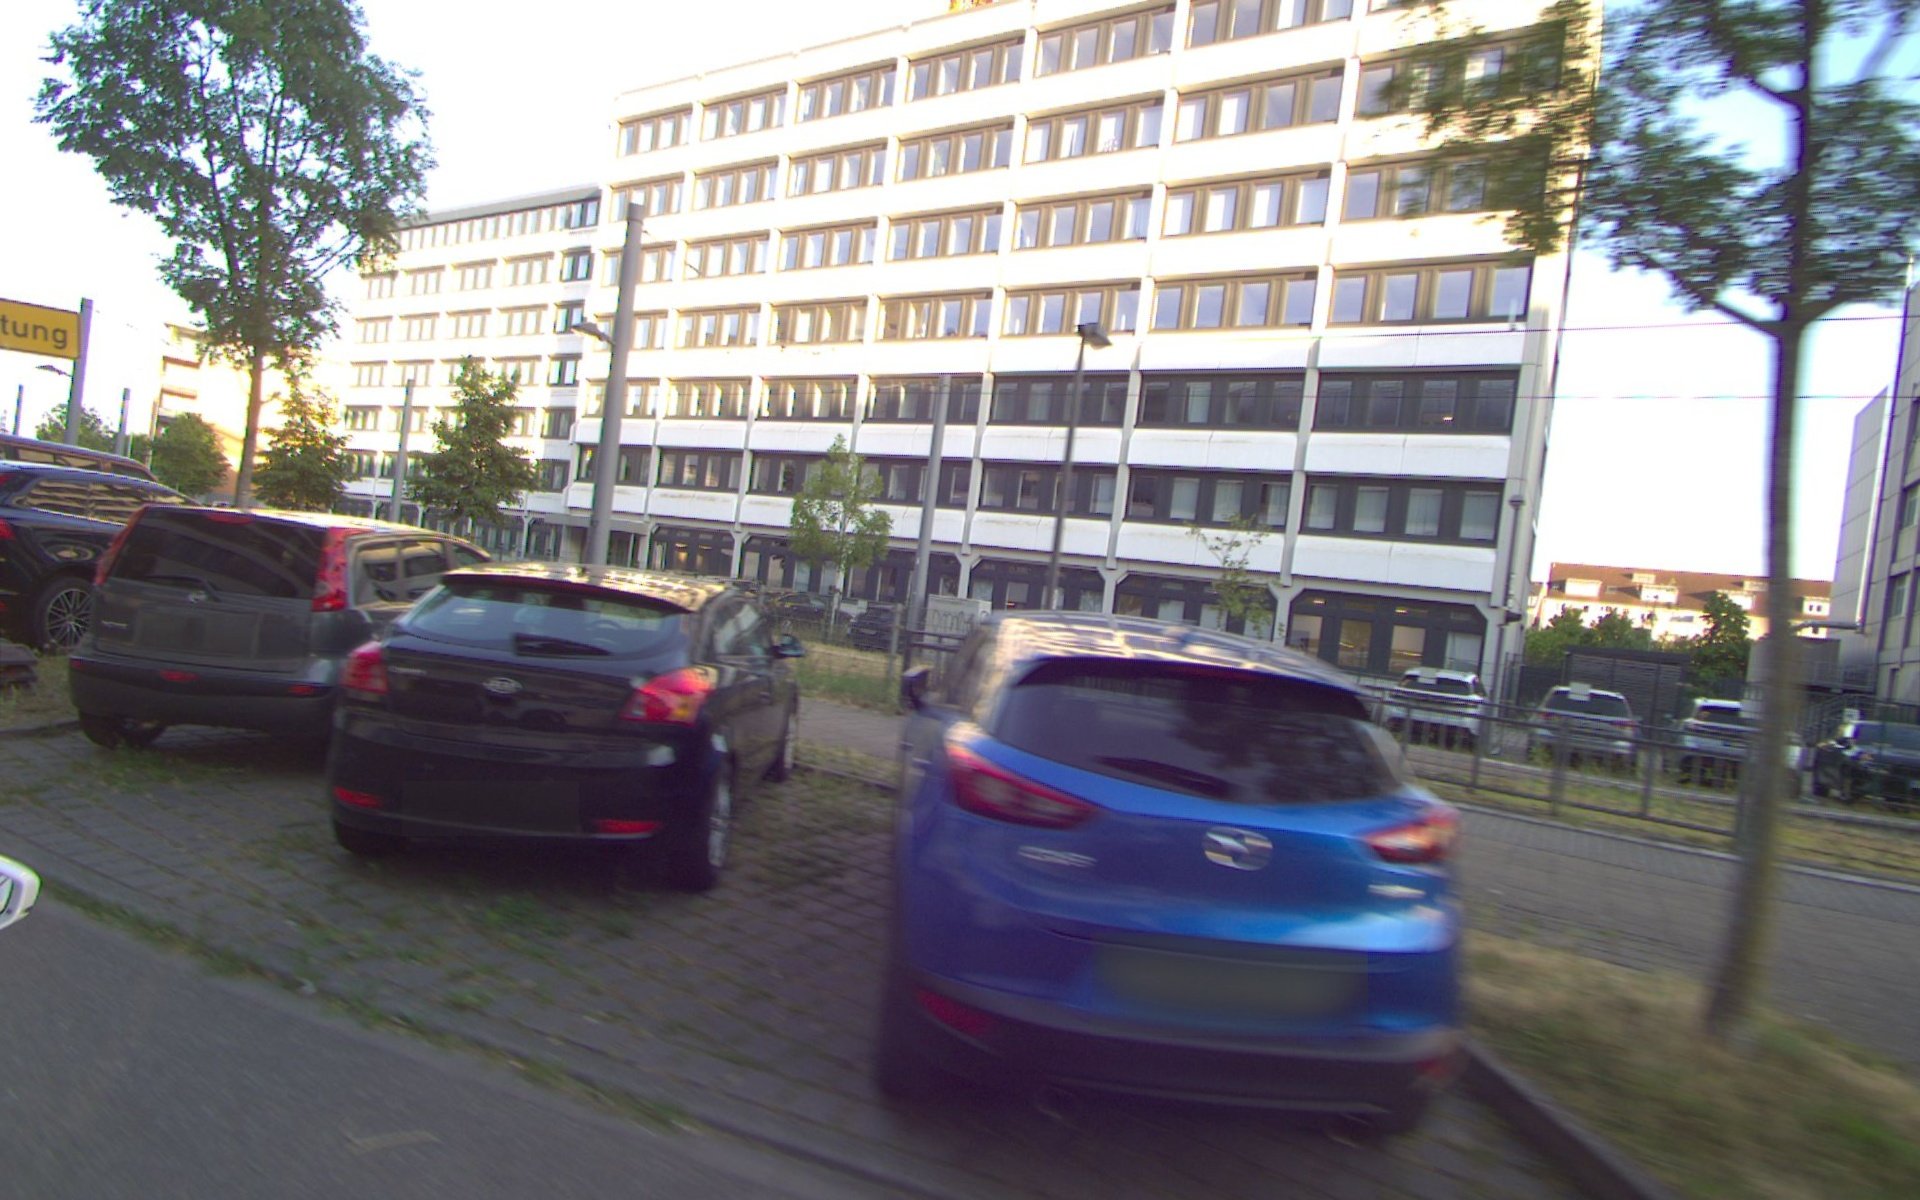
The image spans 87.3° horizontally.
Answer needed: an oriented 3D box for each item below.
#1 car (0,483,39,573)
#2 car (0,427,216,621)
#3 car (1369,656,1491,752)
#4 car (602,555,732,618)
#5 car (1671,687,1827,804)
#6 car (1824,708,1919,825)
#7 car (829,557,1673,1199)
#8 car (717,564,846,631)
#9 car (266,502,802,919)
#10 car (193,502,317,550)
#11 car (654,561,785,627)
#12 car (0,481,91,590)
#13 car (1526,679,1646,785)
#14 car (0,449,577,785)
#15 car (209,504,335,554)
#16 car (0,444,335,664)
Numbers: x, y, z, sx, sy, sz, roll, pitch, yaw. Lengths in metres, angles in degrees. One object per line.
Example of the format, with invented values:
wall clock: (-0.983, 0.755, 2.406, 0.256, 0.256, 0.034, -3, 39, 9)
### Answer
car: (-16.709, -1.369, 15.381, 1.732, 1.459, 3.778, 9, -1, -3)
car: (-11.238, -0.936, 11.524, 1.838, 2.058, 4.604, 9, -1, -2)
car: (9.916, 2.079, 21.068, 1.793, 1.533, 3.990, 8, 2, 30)
car: (-9.614, -0.392, 33.291, 1.565, 1.413, 3.998, 8, -3, 30)
car: (14.017, 2.494, 18.091, 1.648, 1.506, 3.988, 8, 2, 32)
car: (15.991, 2.790, 16.801, 1.648, 1.506, 3.988, 8, 2, 32)
car: (0.603, 0.758, 4.397, 1.893, 1.539, 3.997, 6, 0, -3)
car: (-5.377, -0.033, 30.785, 1.565, 1.413, 3.998, 8, -3, 30)
car: (-2.003, 0.460, 6.033, 1.706, 1.483, 3.996, 7, 0, -6)
car: (-34.103, -3.554, 48.790, 1.666, 1.621, 4.502, 7, -1, 32)
car: (-7.548, -0.147, 31.933, 1.565, 1.413, 3.998, 8, -3, 30)
car: (-14.190, -1.047, 13.576, 1.610, 1.482, 3.778, 9, -1, -3)
car: (12.139, 2.446, 19.533, 1.648, 1.506, 3.988, 8, 2, 32)
car: (-4.467, 0.173, 7.538, 1.706, 1.612, 4.001, 8, -2, -4)
car: (-32.237, -3.315, 47.249, 1.666, 1.621, 4.502, 7, -1, 32)
car: (-8.697, -0.450, 10.098, 1.838, 1.769, 4.604, 9, -1, -2)
